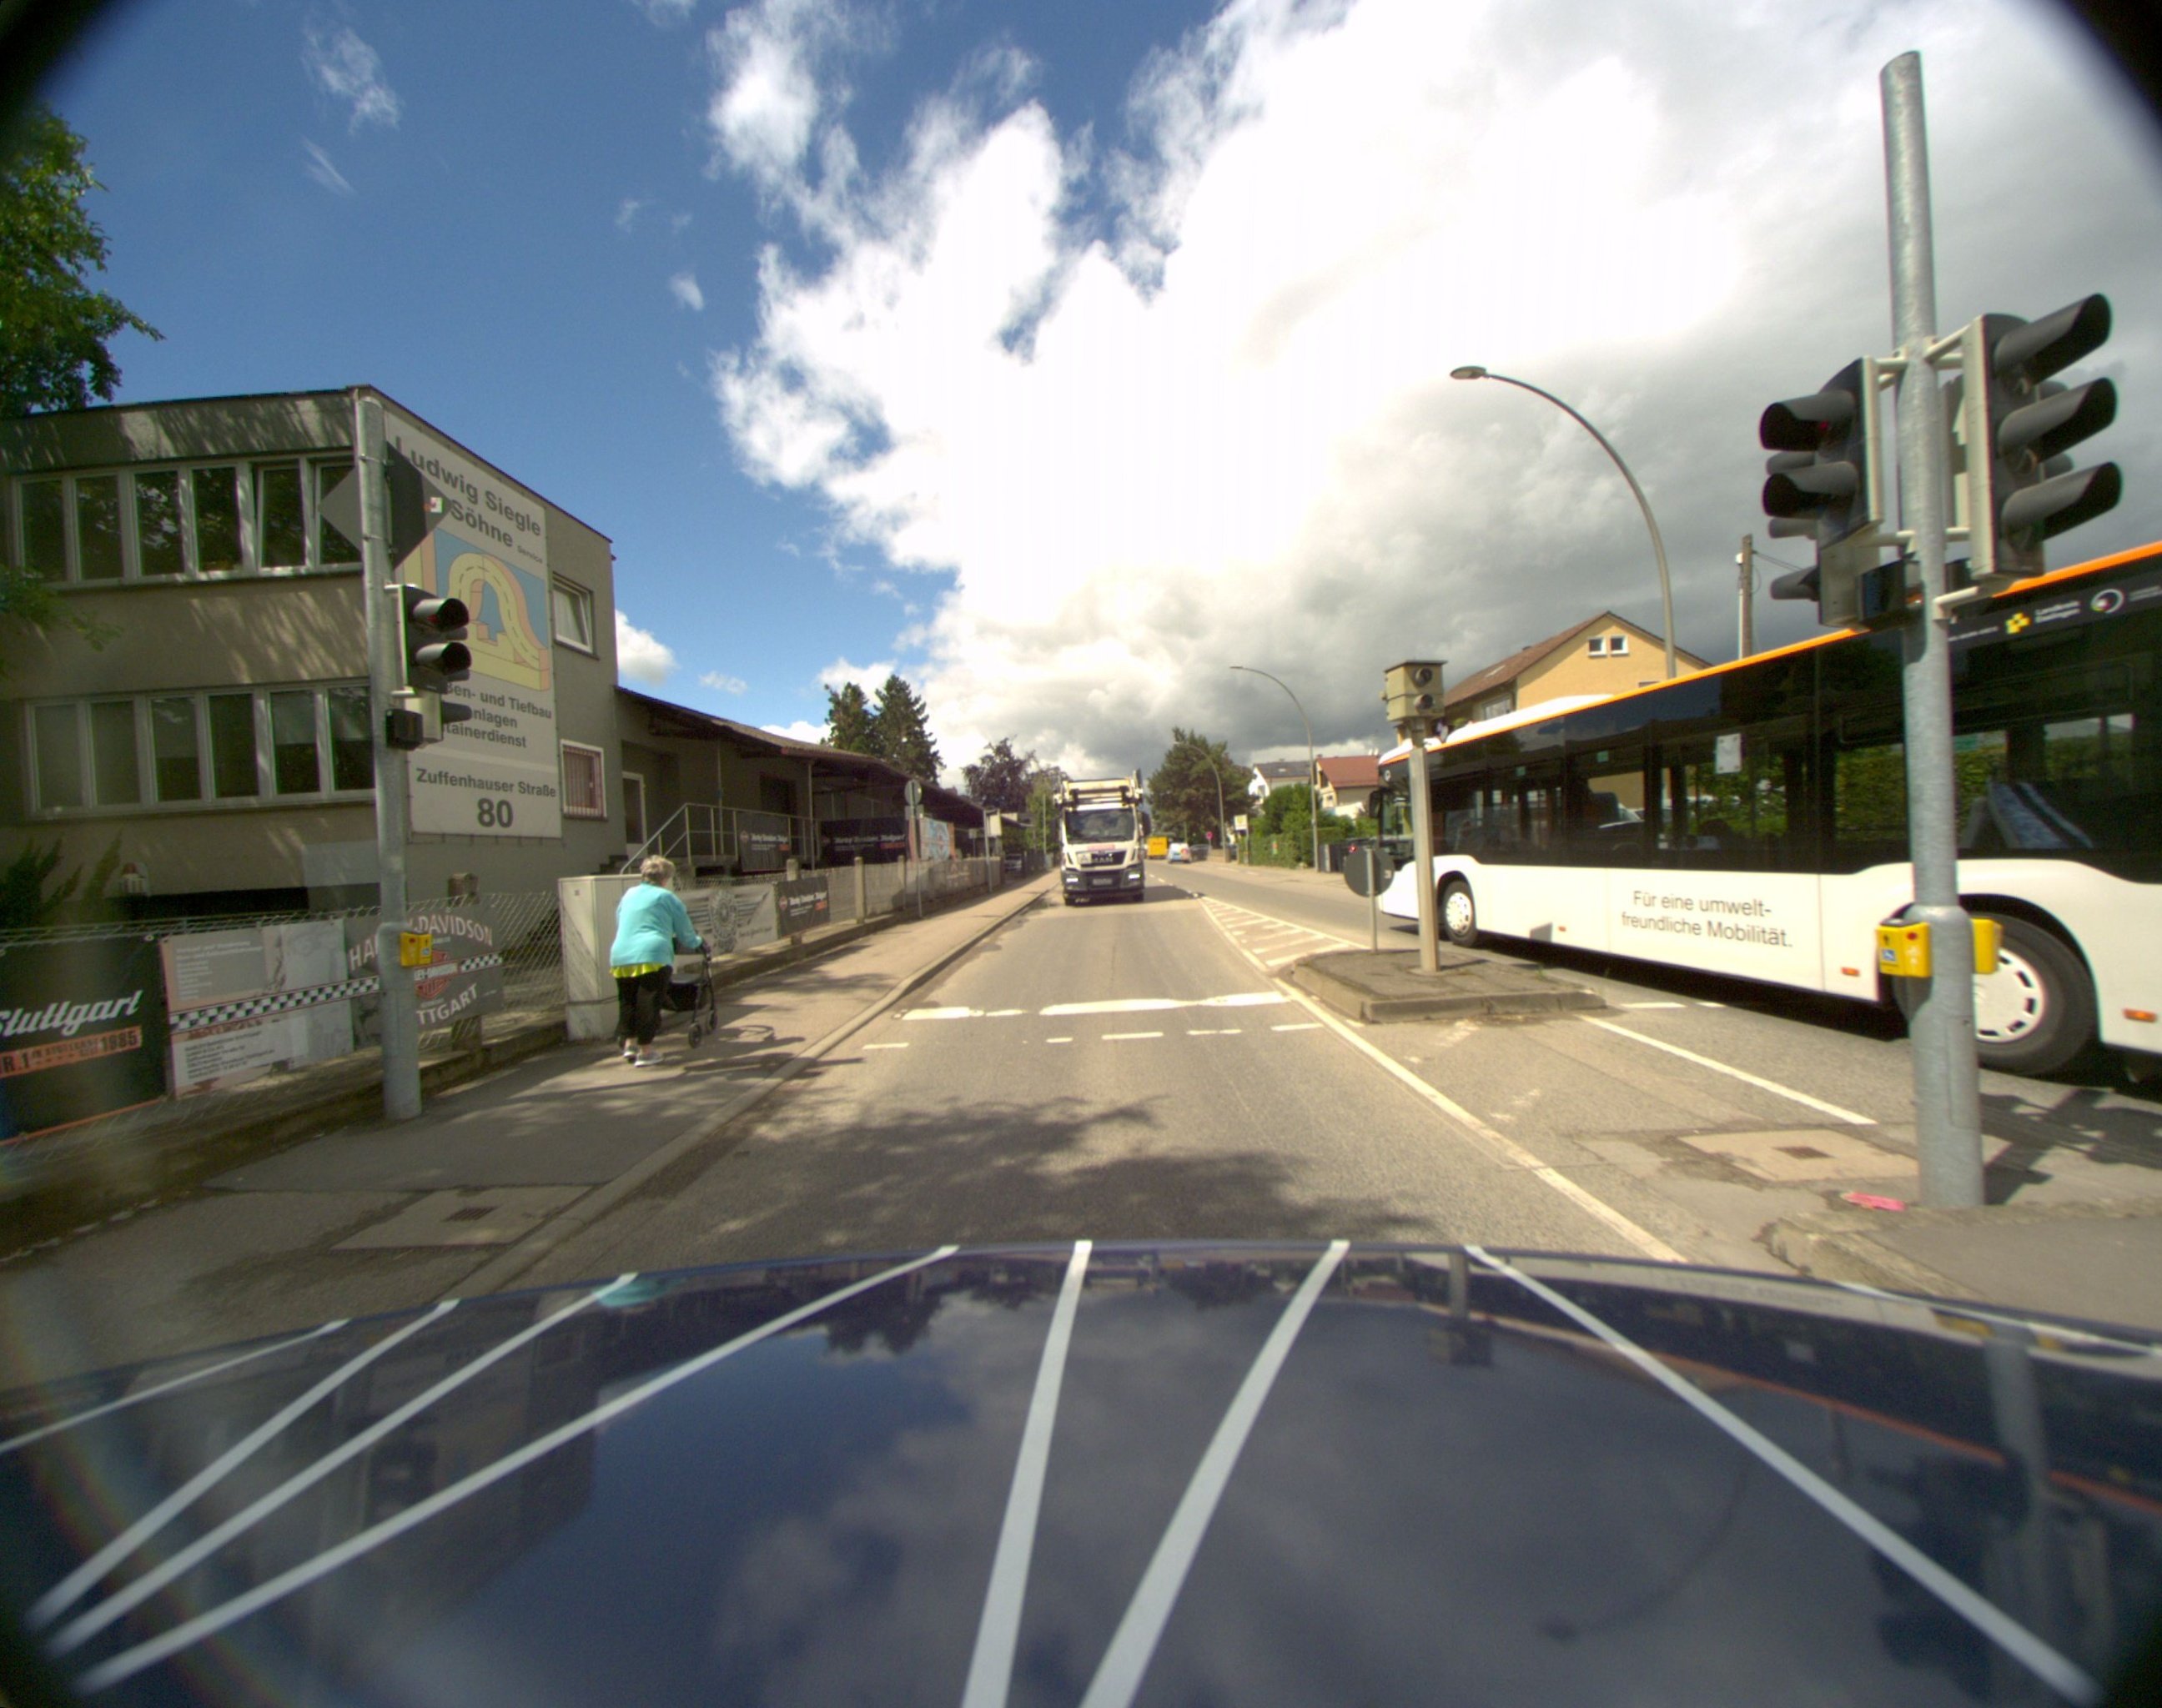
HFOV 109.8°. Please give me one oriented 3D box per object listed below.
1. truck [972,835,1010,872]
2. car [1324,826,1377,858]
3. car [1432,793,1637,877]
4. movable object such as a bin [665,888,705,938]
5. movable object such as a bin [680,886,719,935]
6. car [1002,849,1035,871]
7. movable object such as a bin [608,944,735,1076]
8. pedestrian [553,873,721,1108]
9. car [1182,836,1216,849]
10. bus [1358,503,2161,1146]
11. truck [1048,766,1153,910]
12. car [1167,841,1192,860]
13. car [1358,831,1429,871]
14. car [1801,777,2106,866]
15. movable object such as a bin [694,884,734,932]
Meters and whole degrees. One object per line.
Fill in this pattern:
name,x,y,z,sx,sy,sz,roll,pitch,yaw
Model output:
truck,-7.318,-0.109,62.219,2.091,2.812,5.203,-3,1,3
car,15.299,-0.693,43.271,1.830,1.656,3.522,-3,1,3
car,14.830,-0.614,25.116,5.363,2.371,2.104,-3,1,5
movable object such as a bin,-7.811,1.158,15.004,0.483,0.925,0.474,-3,1,1
movable object such as a bin,-7.795,1.148,15.532,0.483,0.925,0.474,-3,1,1
car,-4.901,0.466,60.151,1.862,1.521,5.203,-3,1,3
movable object such as a bin,-3.319,1.243,6.232,0.671,0.867,0.747,-4,1,-11
pedestrian,-3.241,0.943,5.643,0.734,1.534,0.840,-4,1,-10
car,17.731,-1.754,114.376,4.734,1.669,2.218,-3,1,1
bus,6.337,-0.227,6.991,2.726,3.013,12.261,-2,1,-1
truck,0.794,-0.509,25.684,2.664,3.789,9.815,-3,1,3
car,8.962,-0.345,69.578,1.729,1.671,3.999,-3,1,1
car,13.271,-0.169,32.538,1.887,1.450,4.352,-4,1,11
car,18.261,-0.641,16.256,1.998,1.540,4.000,-3,1,3
movable object such as a bin,-7.781,1.138,16.119,0.483,0.925,0.584,-3,1,2
